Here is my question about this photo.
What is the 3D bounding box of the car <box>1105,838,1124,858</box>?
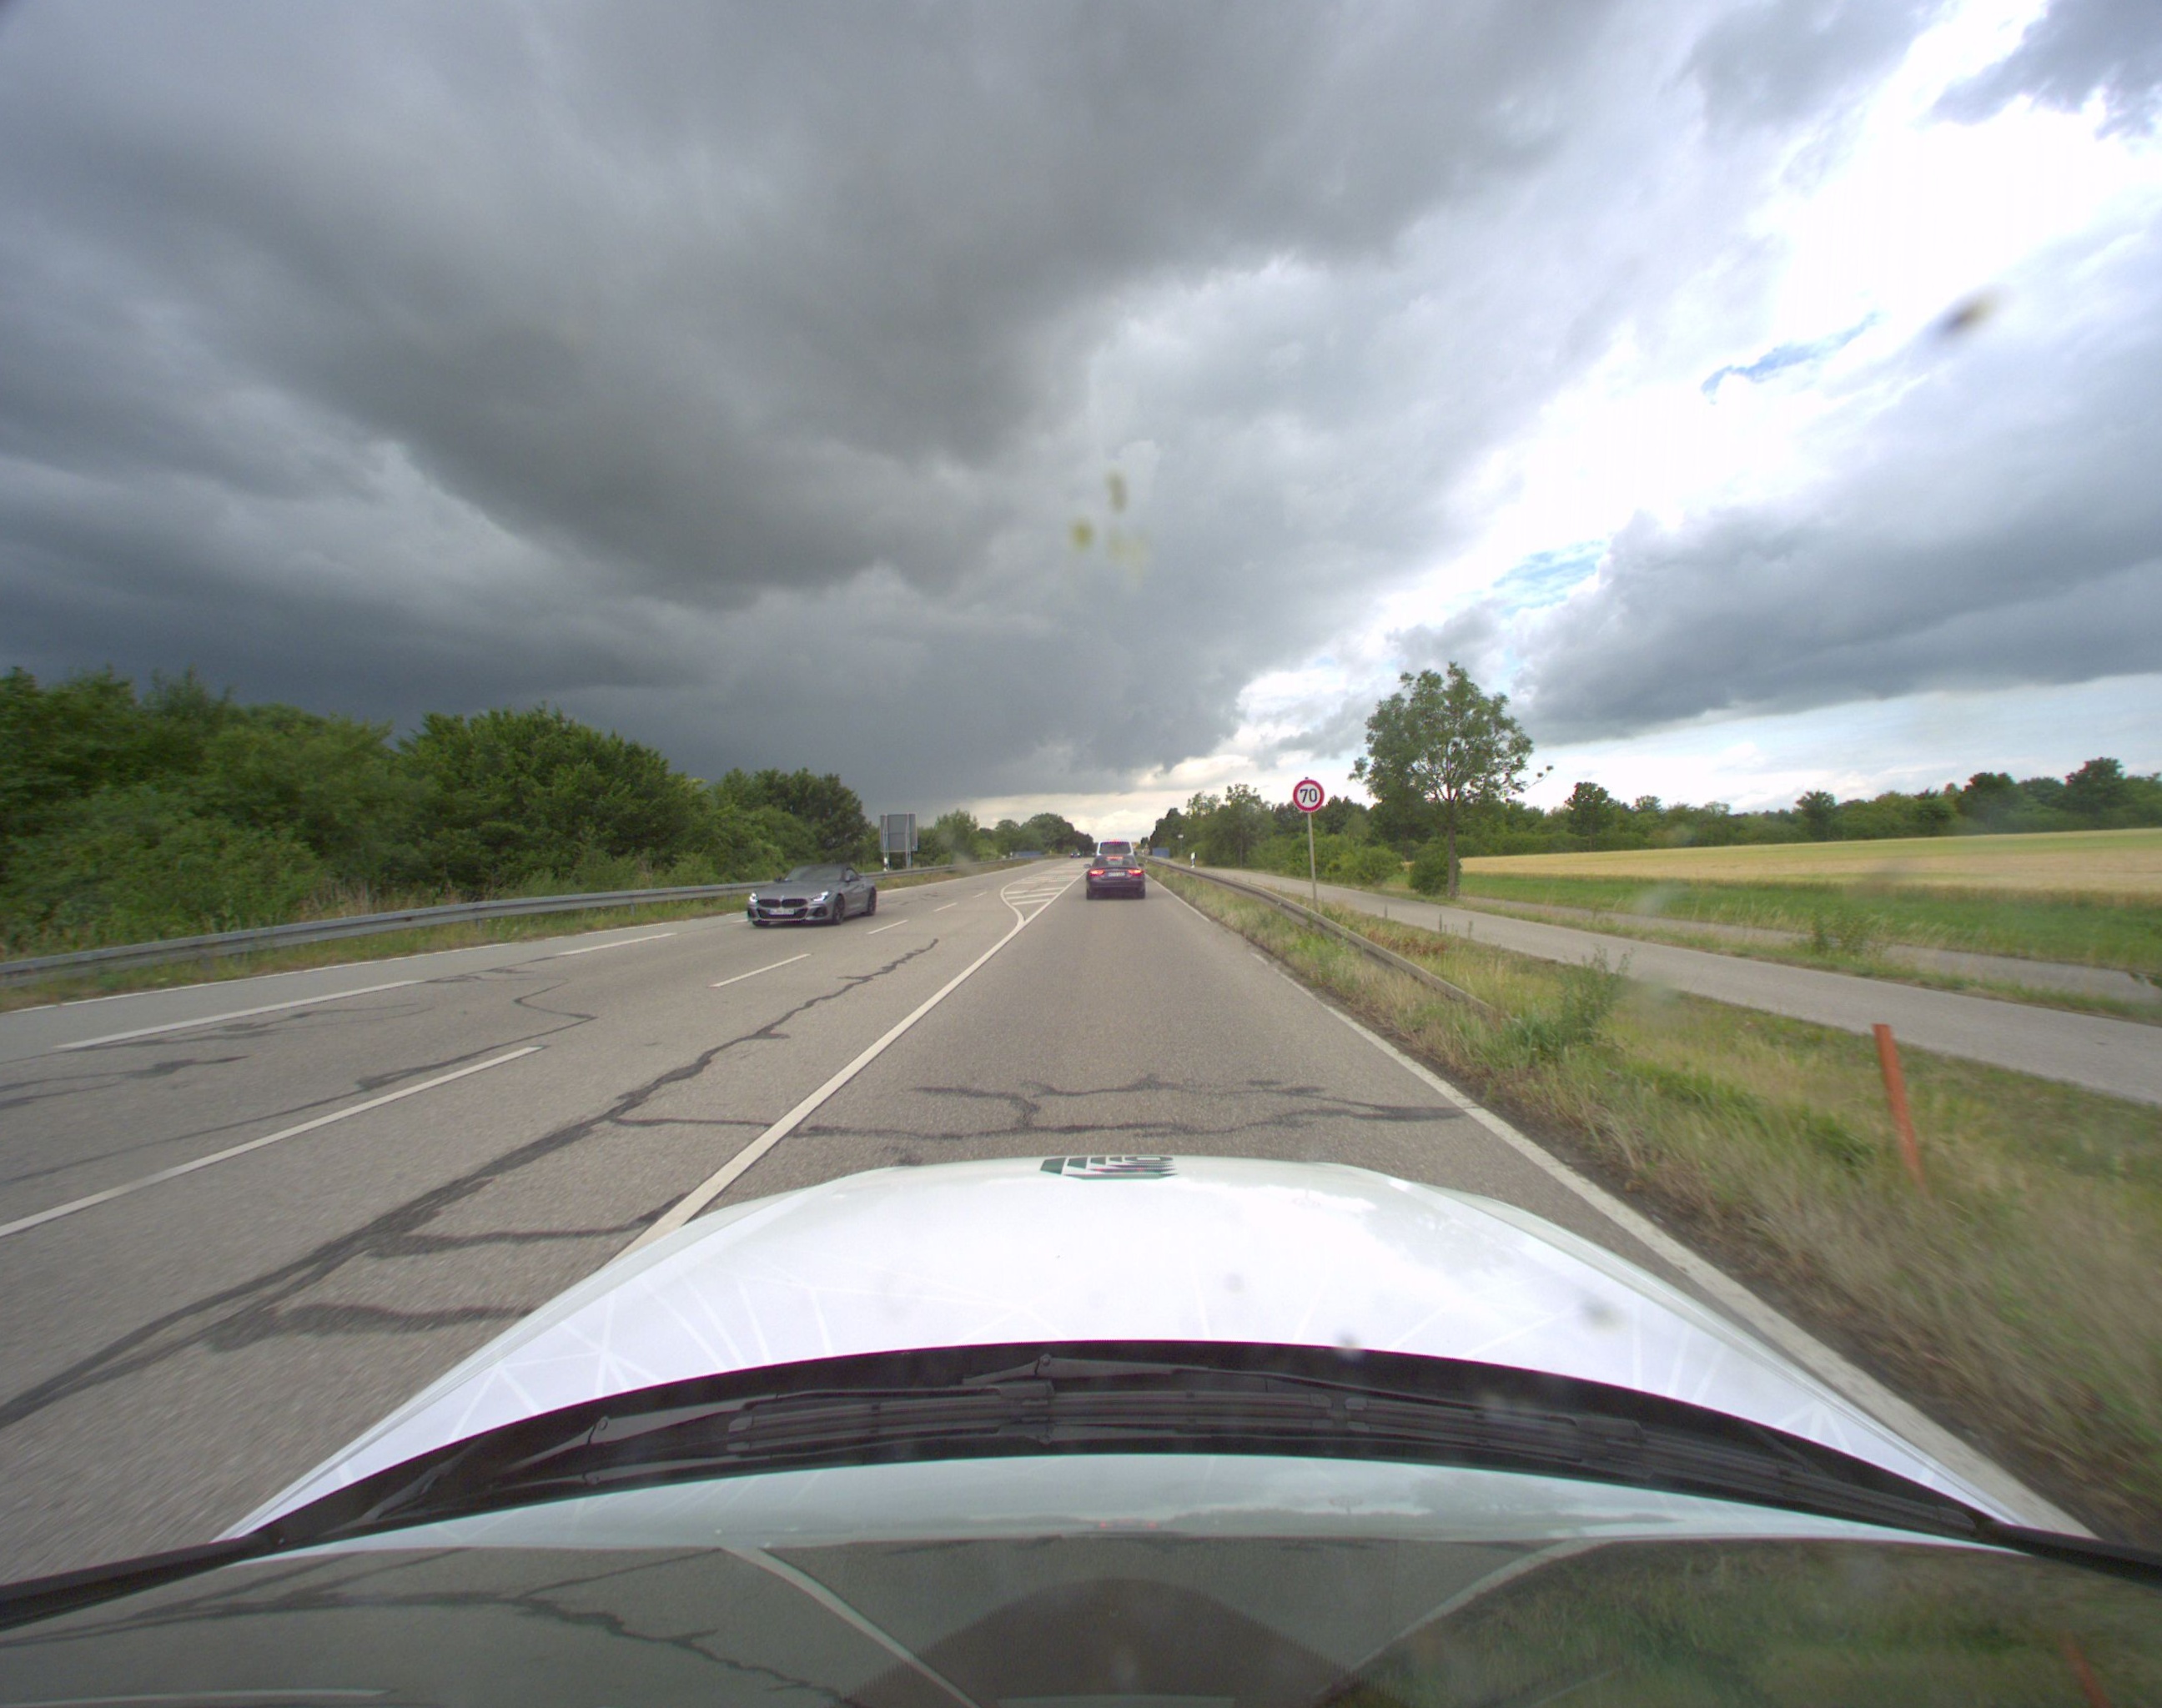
[{"bbox_3d":[4.405,-0.749,106.413,2.437,2.504,5.045,-1,0,3],"label":"car"}]

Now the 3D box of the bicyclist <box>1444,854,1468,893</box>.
[{"bbox_3d":[15.511,0.809,33.710,0.653,1.581,0.744,-1,-1,1],"label":"bicyclist"}]

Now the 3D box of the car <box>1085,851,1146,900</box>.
[{"bbox_3d":[1.104,0.633,26.119,1.779,1.424,4.002,-1,0,2],"label":"car"}]

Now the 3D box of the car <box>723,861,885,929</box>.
[{"bbox_3d":[-6.123,0.848,18.620,2.156,1.285,4.238,-1,0,1],"label":"car"}]

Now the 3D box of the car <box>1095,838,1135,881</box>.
[{"bbox_3d":[1.584,0.246,38.397,1.779,1.889,4.002,-1,0,2],"label":"car"}]

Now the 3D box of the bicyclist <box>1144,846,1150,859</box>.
[{"bbox_3d":[8.472,-0.226,104.174,0.644,1.645,0.866,-2,0,2],"label":"bicyclist"}]

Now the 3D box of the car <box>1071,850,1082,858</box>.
[{"bbox_3d":[-0.863,-0.076,146.387,1.855,1.376,4.001,-1,0,1],"label":"car"}]

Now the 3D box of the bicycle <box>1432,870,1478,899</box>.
[{"bbox_3d":[15.515,1.239,33.883,0.653,1.138,2.831,-1,-1,2],"label":"bicycle"}]
